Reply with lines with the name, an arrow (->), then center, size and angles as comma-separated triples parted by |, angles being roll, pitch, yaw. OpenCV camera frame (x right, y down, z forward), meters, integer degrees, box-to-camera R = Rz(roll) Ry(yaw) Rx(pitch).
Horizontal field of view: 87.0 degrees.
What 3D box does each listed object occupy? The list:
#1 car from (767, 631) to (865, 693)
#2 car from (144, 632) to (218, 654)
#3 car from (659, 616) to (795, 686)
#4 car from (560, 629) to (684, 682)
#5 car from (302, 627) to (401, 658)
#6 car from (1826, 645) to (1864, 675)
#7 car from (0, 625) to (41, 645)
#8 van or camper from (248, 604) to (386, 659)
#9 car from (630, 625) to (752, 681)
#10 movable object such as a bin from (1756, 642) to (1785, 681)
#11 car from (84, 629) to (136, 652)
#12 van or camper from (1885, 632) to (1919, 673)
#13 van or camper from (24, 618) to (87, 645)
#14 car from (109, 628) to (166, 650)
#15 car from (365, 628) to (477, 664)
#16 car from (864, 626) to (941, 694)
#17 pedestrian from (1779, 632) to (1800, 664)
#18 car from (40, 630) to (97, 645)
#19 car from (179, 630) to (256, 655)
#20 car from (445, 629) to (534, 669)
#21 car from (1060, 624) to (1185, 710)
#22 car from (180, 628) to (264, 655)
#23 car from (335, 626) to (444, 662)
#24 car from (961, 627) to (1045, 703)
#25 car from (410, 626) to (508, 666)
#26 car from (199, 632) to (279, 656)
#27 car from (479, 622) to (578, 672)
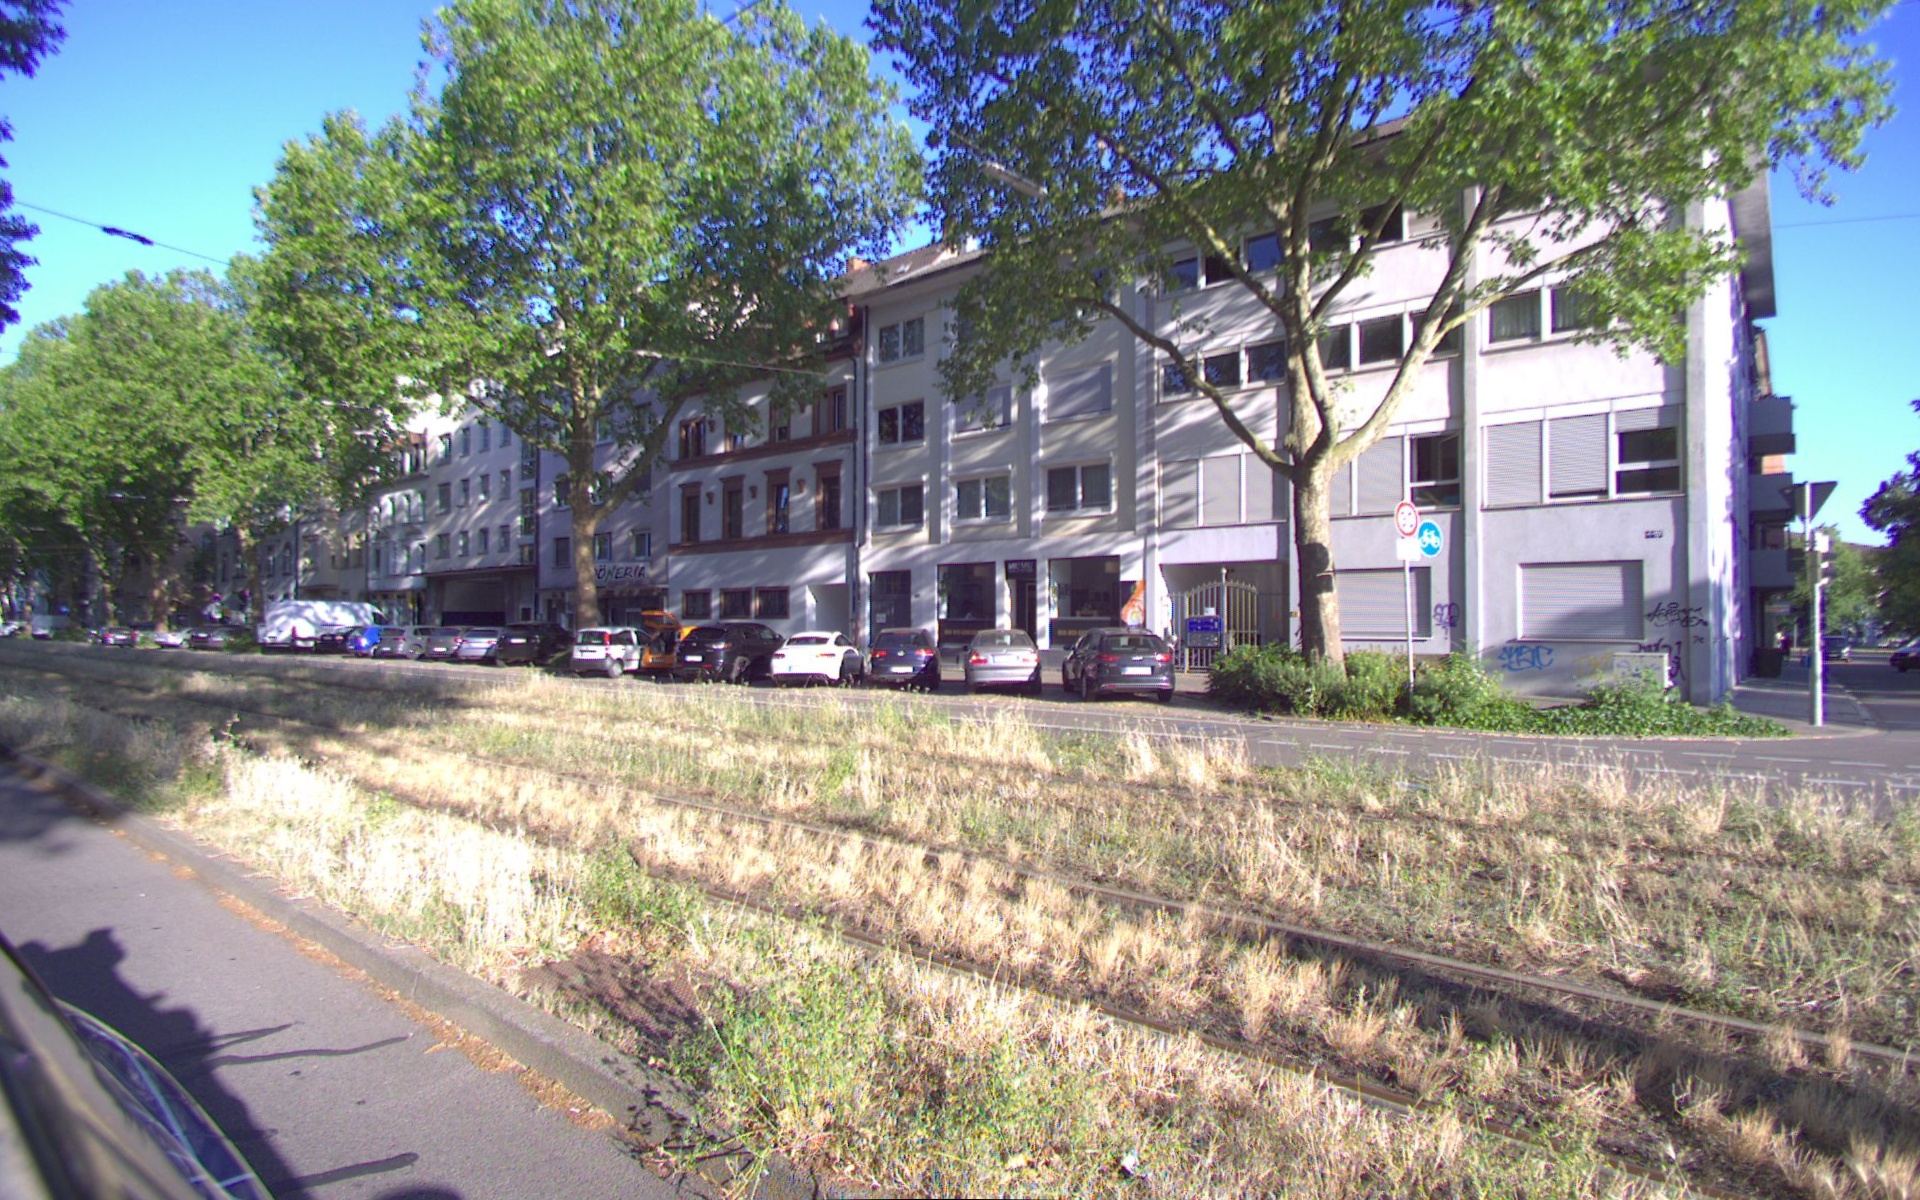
car -> -3.693, 1.565, 26.690 | 1.700, 1.343, 4.200 | -1, 0, 4
car -> -51.785, 2.811, 67.344 | 1.806, 1.400, 3.670 | 0, -2, 9
car -> -6.458, 1.453, 28.609 | 1.975, 1.800, 4.343 | 1, -3, 14
car -> -10.461, 1.679, 31.698 | 1.643, 1.460, 4.345 | 0, -1, 14
car -> -30.744, 2.125, 51.259 | 1.984, 1.502, 3.975 | -1, -2, 18
car -> 63.361, 4.258, 72.471 | 1.999, 2.029, 3.945 | -1, -2, 41
car -> -107.381, 3.959, 115.157 | 1.971, 2.029, 4.002 | -1, 0, -2
van or camper -> -33.109, 1.638, 52.368 | 2.162, 2.666, 5.929 | -1, -2, 19
car -> -8.360, 1.611, 31.797 | 1.764, 1.490, 3.974 | -1, 0, 20
movable object such as a bin -> 27.826, 2.094, 34.745 | 0.745, 1.315, 0.861 | -1, -2, 39
car -> -56.575, 2.694, 67.339 | 4.480, 1.400, 1.802 | -1, -4, 40
van or camper -> 50.124, 2.642, 50.845 | 5.074, 2.029, 1.995 | 0, -2, 8
van or camper -> -88.323, 3.069, 98.894 | 2.171, 2.418, 4.364 | -1, 1, 0
car -> -63.510, 3.016, 78.209 | 1.703, 1.666, 4.008 | 0, -2, -10
car -> -23.601, 2.003, 44.438 | 1.941, 1.503, 3.964 | -1, -2, 27
car -> -1.439, 1.451, 25.686 | 1.776, 1.452, 4.002 | -1, 0, -3
pedestrian -> 45.786, 2.653, 55.853 | 0.684, 1.764, 0.638 | -1, -2, 24
car -> -86.017, 3.605, 97.691 | 1.709, 1.256, 3.993 | -1, 1, 6
car -> -47.728, 2.768, 65.178 | 1.803, 1.545, 3.994 | 0, -3, 4
car -> -18.294, 1.871, 39.531 | 1.883, 1.396, 4.004 | -1, -1, -5
car -> 3.297, 1.328, 21.291 | 1.791, 1.490, 4.002 | -1, 0, -2
car -> -45.529, 2.592, 62.550 | 1.912, 1.605, 4.155 | 0, -4, 4
car -> -25.994, 1.979, 46.217 | 1.854, 1.431, 3.951 | -1, 0, 36
car -> 0.901, 1.414, 23.281 | 1.698, 1.452, 4.000 | -1, 0, -1
car -> -20.538, 1.851, 41.672 | 1.735, 1.433, 3.993 | -1, 0, 6
car -> -43.001, 2.621, 60.449 | 1.778, 1.368, 4.002 | 0, -3, 3
car -> -15.681, 1.674, 37.020 | 1.972, 1.673, 4.000 | -1, -1, -1
